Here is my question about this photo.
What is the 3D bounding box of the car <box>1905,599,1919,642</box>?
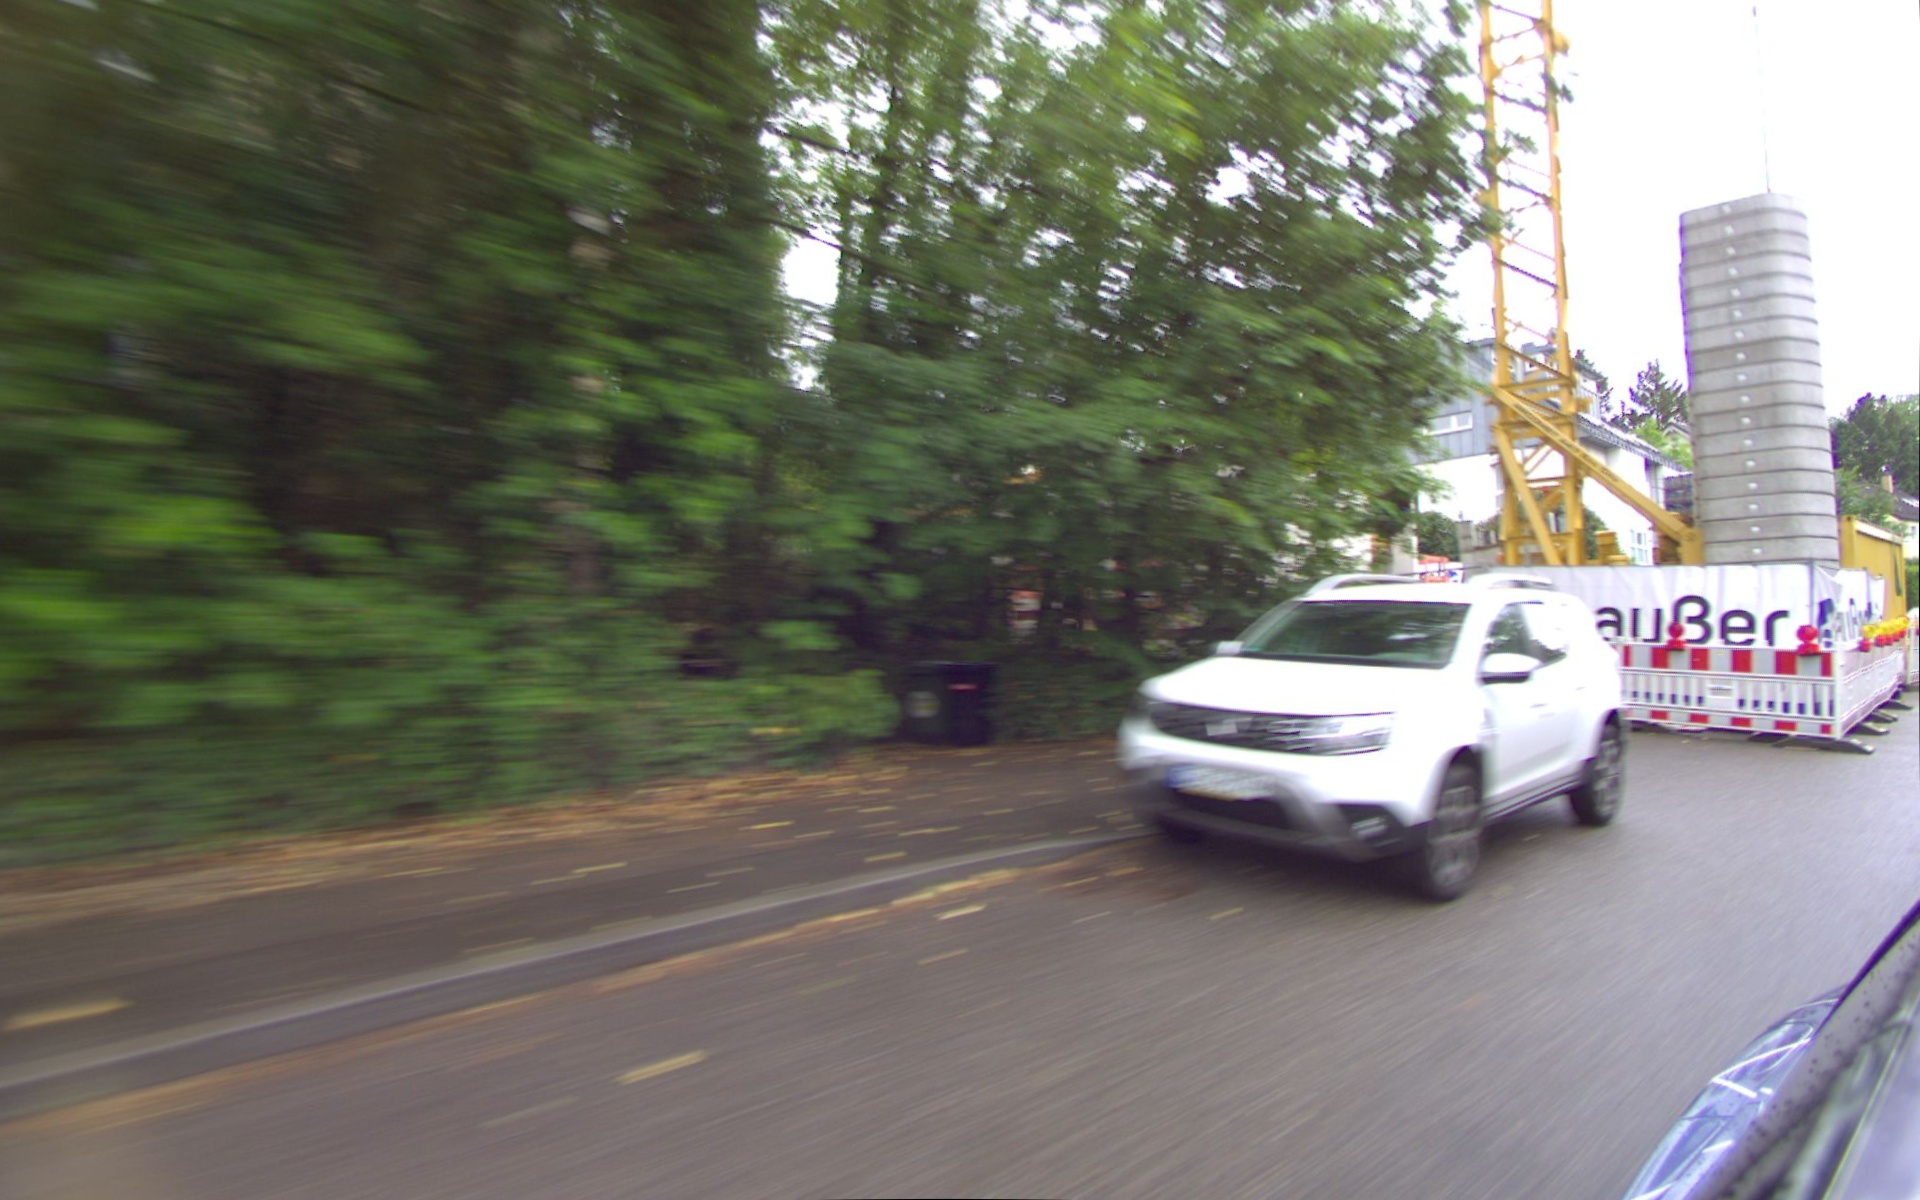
[{"bbox_3d":[34.363,0.691,35.058,4.753,1.441,1.934,0,-2,-42],"label":"car"}]

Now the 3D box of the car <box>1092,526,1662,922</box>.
[{"bbox_3d":[2.951,0.546,6.583,4.425,1.727,1.747,0,-1,-43],"label":"car"}]
